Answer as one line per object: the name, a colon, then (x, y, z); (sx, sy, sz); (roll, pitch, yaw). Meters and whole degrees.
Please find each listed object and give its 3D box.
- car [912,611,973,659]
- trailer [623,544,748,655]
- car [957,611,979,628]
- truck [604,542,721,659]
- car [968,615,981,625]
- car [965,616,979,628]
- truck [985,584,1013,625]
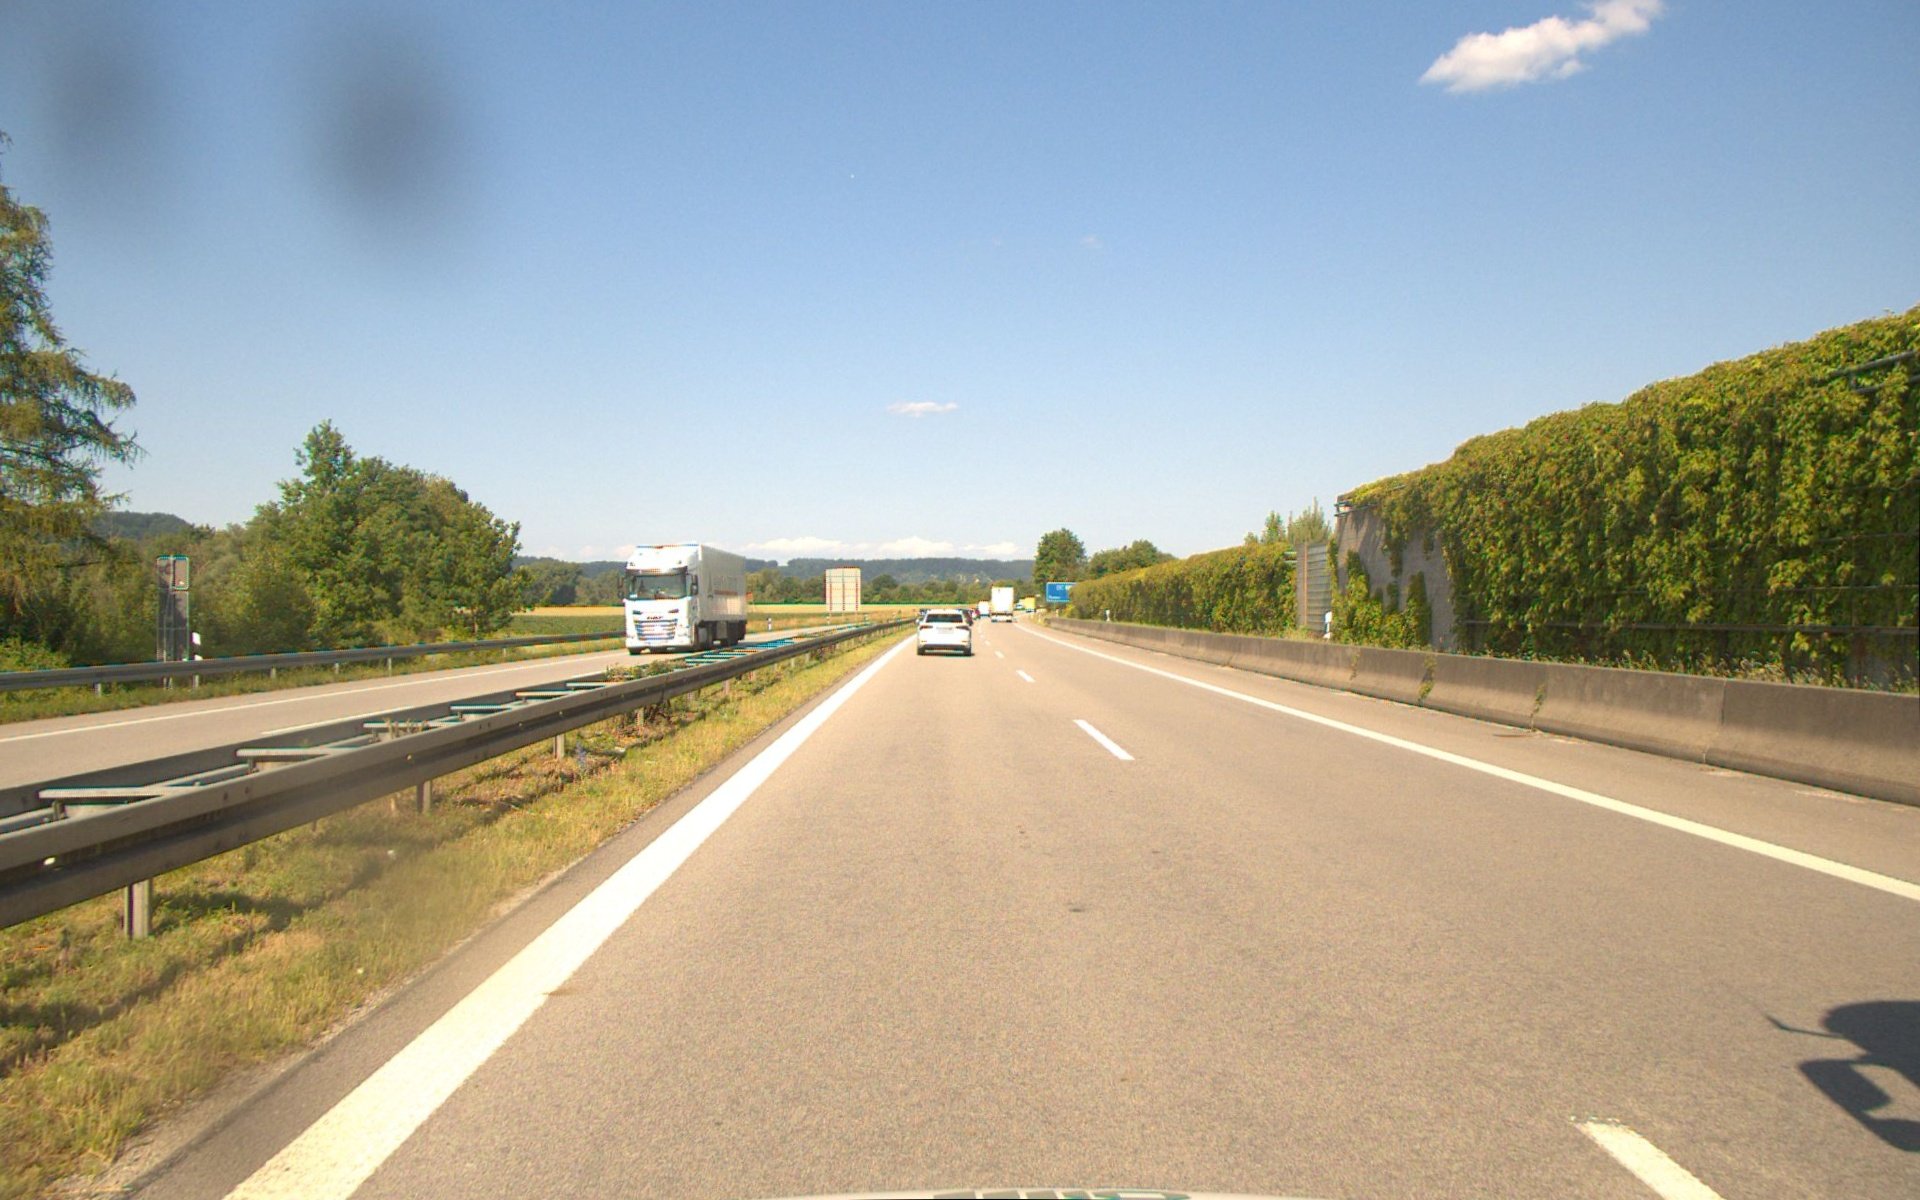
car: (-0.617, 1.109, 54.476); (1.803, 1.446, 5.251); (1, 0, -3)
trailer: (-11.507, 0.023, 70.846); (3.086, 4.197, 13.439); (-2, 0, 0)
car: (0.699, 1.715, 144.598); (1.734, 1.446, 4.496); (1, 0, 3)
truck: (-11.440, 0.040, 64.267); (3.092, 4.173, 7.734); (-2, 0, 0)
car: (2.094, 2.857, 235.917); (1.734, 1.446, 4.366); (1, 0, 3)
car: (1.568, 2.902, 217.664); (1.734, 1.446, 4.366); (1, 0, 3)
truck: (4.584, 0.525, 191.614); (3.087, 4.693, 8.907); (0, 0, 2)
